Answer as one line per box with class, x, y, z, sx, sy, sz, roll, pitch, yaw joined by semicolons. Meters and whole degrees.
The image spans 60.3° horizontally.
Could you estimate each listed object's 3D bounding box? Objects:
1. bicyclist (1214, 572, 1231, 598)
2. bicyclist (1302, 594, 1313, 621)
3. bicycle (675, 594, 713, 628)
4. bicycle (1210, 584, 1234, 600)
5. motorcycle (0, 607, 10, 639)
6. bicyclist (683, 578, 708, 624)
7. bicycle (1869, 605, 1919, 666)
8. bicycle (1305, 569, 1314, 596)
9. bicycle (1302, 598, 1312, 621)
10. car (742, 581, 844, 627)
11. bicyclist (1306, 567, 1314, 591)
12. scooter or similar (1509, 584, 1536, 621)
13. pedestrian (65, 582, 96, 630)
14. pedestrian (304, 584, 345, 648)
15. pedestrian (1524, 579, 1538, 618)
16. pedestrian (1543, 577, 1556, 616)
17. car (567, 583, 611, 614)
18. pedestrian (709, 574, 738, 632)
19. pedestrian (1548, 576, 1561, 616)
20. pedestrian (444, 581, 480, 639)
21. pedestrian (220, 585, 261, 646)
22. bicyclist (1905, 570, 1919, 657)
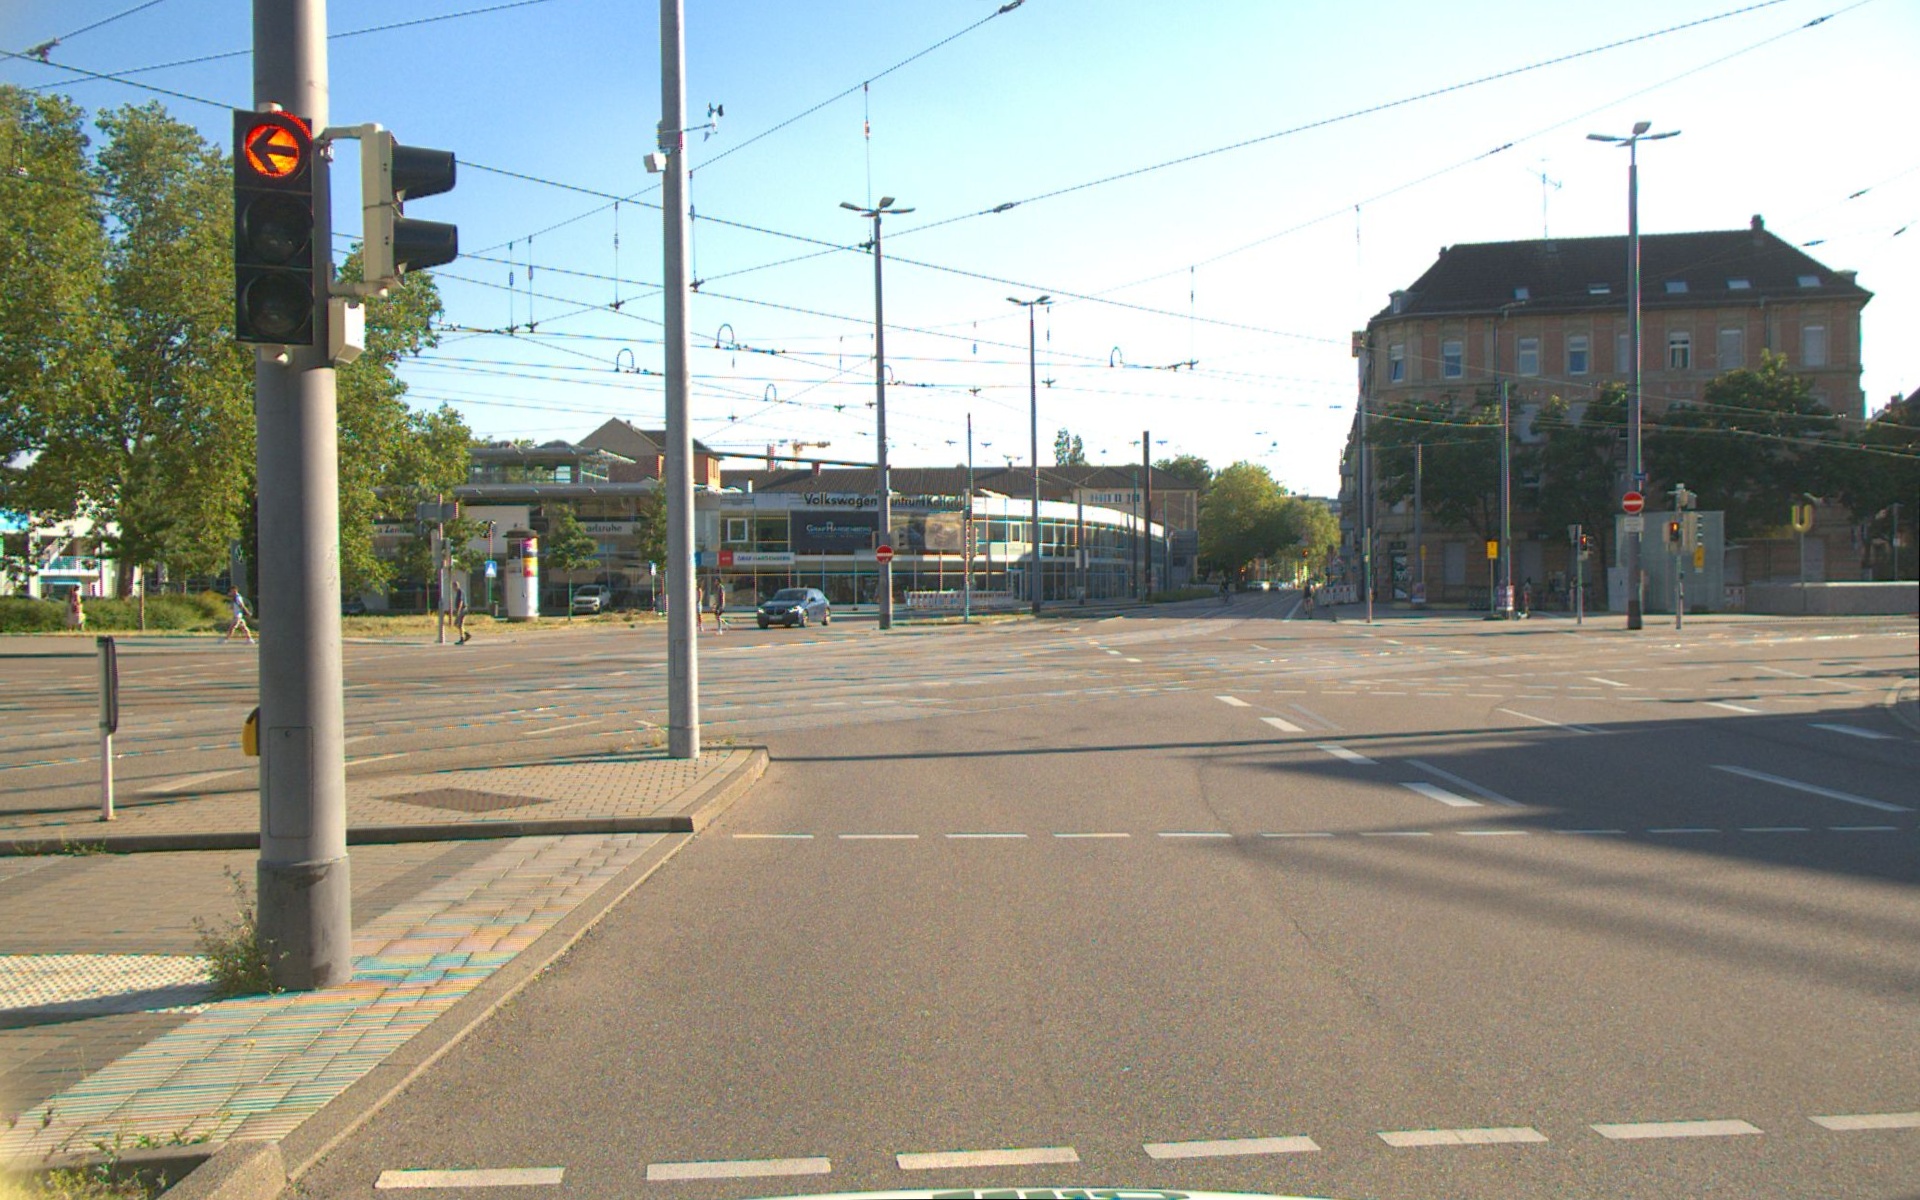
bicyclist;16.690;-0.947;105.064;0.763;1.604;0.754;1;-1;-29
bicyclist;14.642;0.305;69.692;0.399;1.136;0.399;1;-1;11
bicycle;-9.559;0.392;59.469;0.599;1.210;1.870;1;0;17
bicycle;16.626;-0.495;105.078;0.650;0.969;1.584;1;0;-30
motorcycle;-28.924;0.674;48.491;1.748;0.930;0.675;1;0;-21
bicyclist;-9.518;0.050;59.564;0.585;1.644;0.823;1;-1;16
bicycle;17.627;0.656;30.146;0.524;1.067;2.316;1;1;-9
bicycle;27.543;-1.350;130.375;0.604;2.049;2.402;1;0;13
bicycle;14.603;0.408;69.579;0.401;0.958;1.847;1;0;12
car;-6.156;0.167;61.533;1.954;1.613;3.996;1;0;26
bicyclist;27.584;-1.670;130.314;0.586;1.840;0.828;1;-1;12
scooter or similar;21.614;0.103;63.570;0.769;1.400;1.910;1;0;13
pedestrian;-31.993;0.207;60.180;0.839;1.723;0.496;1;-1;-3
pedestrian;-17.699;0.447;46.090;0.777;1.736;0.759;1;-1;6
pedestrian;29.926;-0.075;86.695;0.589;2.049;0.647;-1;0;14
pedestrian;31.038;-0.194;87.109;0.589;2.049;0.647;-1;0;14
car;-22.158;-0.054;98.954;1.954;1.780;3.997;1;0;-4
pedestrian;-7.831;0.103;54.777;0.777;1.919;0.759;1;-1;6
pedestrian;30.862;-0.202;85.862;0.589;2.049;0.647;-1;0;14
pedestrian;-15.276;0.311;50.769;0.777;1.736;0.759;1;-1;6
pedestrian;-20.790;0.451;47.814;0.777;1.736;0.759;1;-1;6
bicyclist;17.669;0.253;29.931;0.505;1.584;0.945;1;0;-9
